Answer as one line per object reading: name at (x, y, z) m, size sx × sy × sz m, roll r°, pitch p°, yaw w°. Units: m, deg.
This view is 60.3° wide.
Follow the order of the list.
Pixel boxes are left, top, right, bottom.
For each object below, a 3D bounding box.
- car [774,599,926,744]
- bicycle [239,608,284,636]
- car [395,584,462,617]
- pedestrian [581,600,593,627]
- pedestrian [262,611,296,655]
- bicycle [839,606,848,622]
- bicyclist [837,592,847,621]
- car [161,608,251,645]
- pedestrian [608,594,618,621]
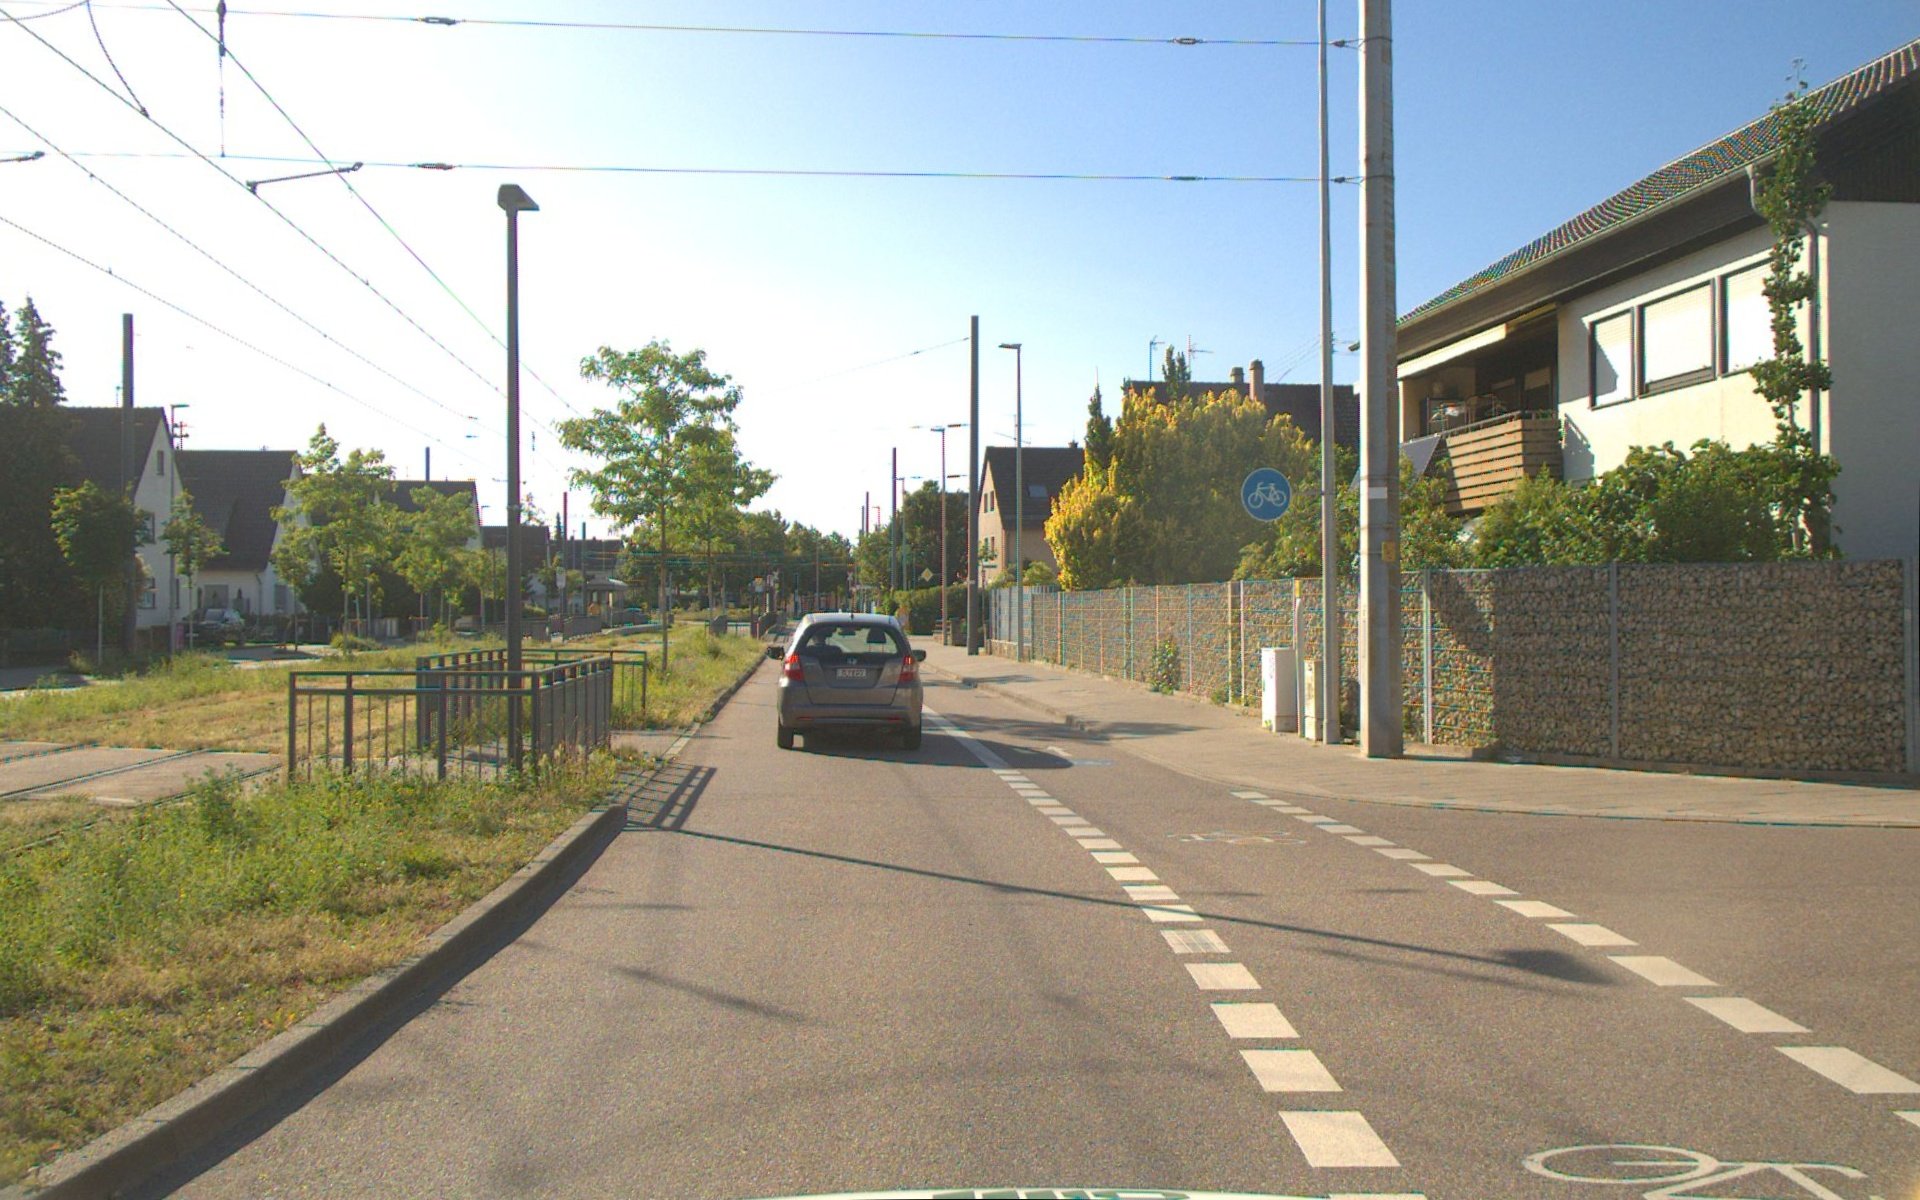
car at (-1.286, 0.796, 19.795) m, size 1.637 × 1.562 × 3.485 m, roll 1°, pitch 0°, yaw -3°
bicycle at (-34.400, 1.087, 81.436) m, size 1.954 × 1.389 × 0.702 m, roll 0°, pitch -1°, yaw -13°
car at (-34.280, 0.064, 106.792) m, size 3.919 × 2.004 × 1.926 m, roll 1°, pitch -1°, yaw -14°
pedestrian at (-22.150, 0.792, 98.221) m, size 0.663 × 1.562 × 0.747 m, roll 0°, pitch 0°, yaw -10°
pedestrian at (-26.529, 1.284, 64.421) m, size 0.946 × 1.669 × 1.084 m, roll 0°, pitch -1°, yaw -6°
bicycle at (-6.972, 0.849, 99.246) m, size 0.466 × 0.978 × 1.655 m, roll 1°, pitch -1°, yaw -5°
bicyclist at (-7.064, 0.396, 99.043) m, size 0.587 × 1.731 × 0.682 m, roll 1°, pitch -1°, yaw -6°
car at (-31.685, 1.106, 69.650) m, size 1.897 × 1.475 × 5.156 m, roll 0°, pitch 0°, yaw -6°
pedestrian at (-22.727, 0.471, 108.222) m, size 0.490 × 1.726 × 0.770 m, roll -2°, pitch 0°, yaw -5°
